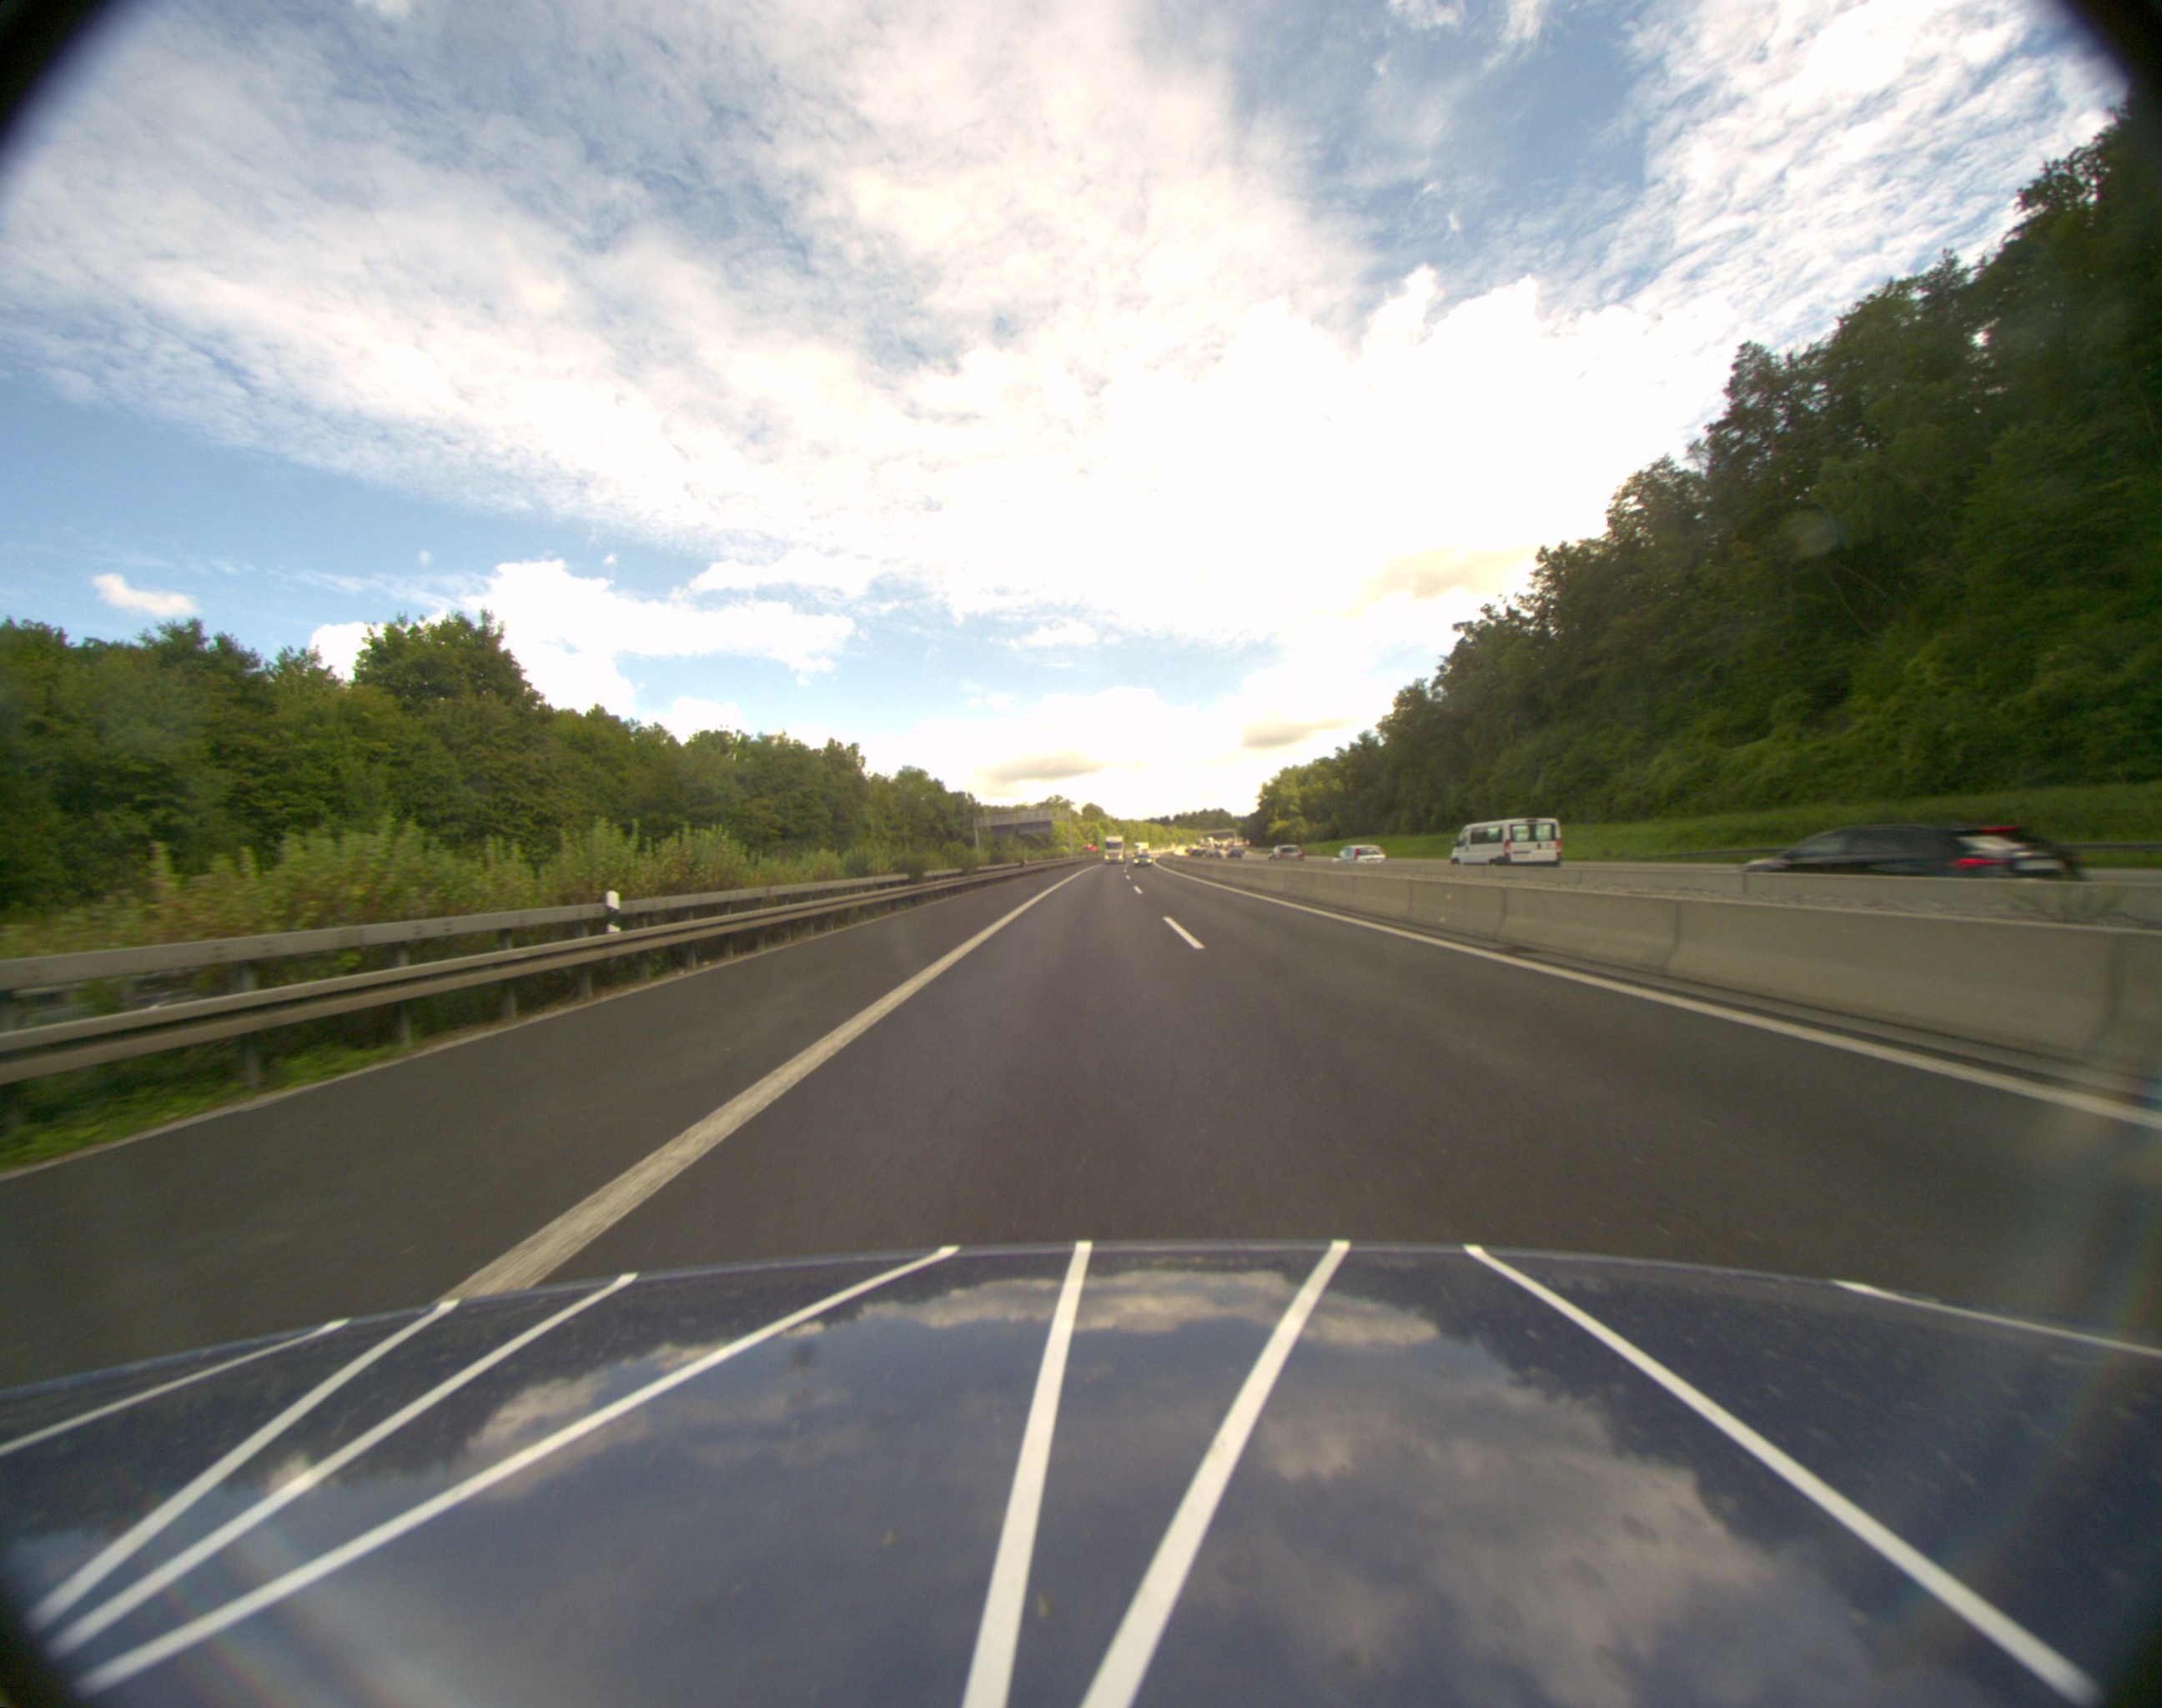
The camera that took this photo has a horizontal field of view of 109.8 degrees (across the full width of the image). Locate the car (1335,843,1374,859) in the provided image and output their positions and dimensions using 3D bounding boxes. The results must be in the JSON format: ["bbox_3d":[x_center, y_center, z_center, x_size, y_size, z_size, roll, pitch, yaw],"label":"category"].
[{"bbox_3d":[23.190,-0.261,64.535,1.827,1.304,4.187,-2,0,2],"label":"car"}]

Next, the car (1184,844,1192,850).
[{"bbox_3d":[30.985,-2.038,220.680,1.998,1.618,4.778,-2,1,6],"label":"car"}]

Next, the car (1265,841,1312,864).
[{"bbox_3d":[14.659,-0.127,54.013,1.998,1.527,5.285,-2,0,2],"label":"car"}]

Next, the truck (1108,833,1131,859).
[{"bbox_3d":[5.855,-1.231,113.810,2.795,3.562,11.461,-2,1,6],"label":"truck"}]

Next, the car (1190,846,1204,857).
[{"bbox_3d":[18.398,-0.402,120.647,1.880,1.688,4.315,-2,0,4],"label":"car"}]

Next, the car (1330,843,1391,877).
[{"bbox_3d":[12.889,0.249,35.222,1.569,1.441,3.889,-2,0,4],"label":"car"}]

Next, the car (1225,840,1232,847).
[{"bbox_3d":[45.784,-3.276,236.208,1.997,2.022,4.002,-2,1,8],"label":"car"}]

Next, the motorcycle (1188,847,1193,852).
[{"bbox_3d":[25.753,-0.982,178.889,0.924,1.181,2.641,-2,1,9],"label":"motorcycle"}]

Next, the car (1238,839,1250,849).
[{"bbox_3d":[36.461,-2.246,170.109,2.029,2.022,4.783,-2,0,6],"label":"car"}]

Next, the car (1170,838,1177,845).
[{"bbox_3d":[27.927,-3.702,228.660,1.997,2.022,4.002,-2,1,8],"label":"car"}]

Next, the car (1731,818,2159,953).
[{"bbox_3d":[12.615,0.392,11.594,1.998,1.631,4.000,-2,0,1],"label":"car"}]

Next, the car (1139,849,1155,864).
[{"bbox_3d":[7.151,0.218,82.524,1.662,1.464,4.001,-2,1,5],"label":"car"}]

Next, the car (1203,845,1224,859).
[{"bbox_3d":[15.555,-0.217,89.230,1.703,1.530,4.501,-2,0,2],"label":"car"}]

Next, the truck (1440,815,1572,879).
[{"bbox_3d":[16.530,-0.256,29.982,2.189,2.213,5.571,-2,0,2],"label":"truck"}]

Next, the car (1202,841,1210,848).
[{"bbox_3d":[39.287,-2.969,238.092,2.205,2.118,8.080,-2,1,8],"label":"car"}]

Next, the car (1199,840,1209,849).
[{"bbox_3d":[28.617,-2.228,176.550,1.998,2.002,4.778,-2,1,6],"label":"car"}]

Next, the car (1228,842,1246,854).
[{"bbox_3d":[22.209,-0.834,108.278,1.998,1.530,4.740,-2,1,4],"label":"car"}]
